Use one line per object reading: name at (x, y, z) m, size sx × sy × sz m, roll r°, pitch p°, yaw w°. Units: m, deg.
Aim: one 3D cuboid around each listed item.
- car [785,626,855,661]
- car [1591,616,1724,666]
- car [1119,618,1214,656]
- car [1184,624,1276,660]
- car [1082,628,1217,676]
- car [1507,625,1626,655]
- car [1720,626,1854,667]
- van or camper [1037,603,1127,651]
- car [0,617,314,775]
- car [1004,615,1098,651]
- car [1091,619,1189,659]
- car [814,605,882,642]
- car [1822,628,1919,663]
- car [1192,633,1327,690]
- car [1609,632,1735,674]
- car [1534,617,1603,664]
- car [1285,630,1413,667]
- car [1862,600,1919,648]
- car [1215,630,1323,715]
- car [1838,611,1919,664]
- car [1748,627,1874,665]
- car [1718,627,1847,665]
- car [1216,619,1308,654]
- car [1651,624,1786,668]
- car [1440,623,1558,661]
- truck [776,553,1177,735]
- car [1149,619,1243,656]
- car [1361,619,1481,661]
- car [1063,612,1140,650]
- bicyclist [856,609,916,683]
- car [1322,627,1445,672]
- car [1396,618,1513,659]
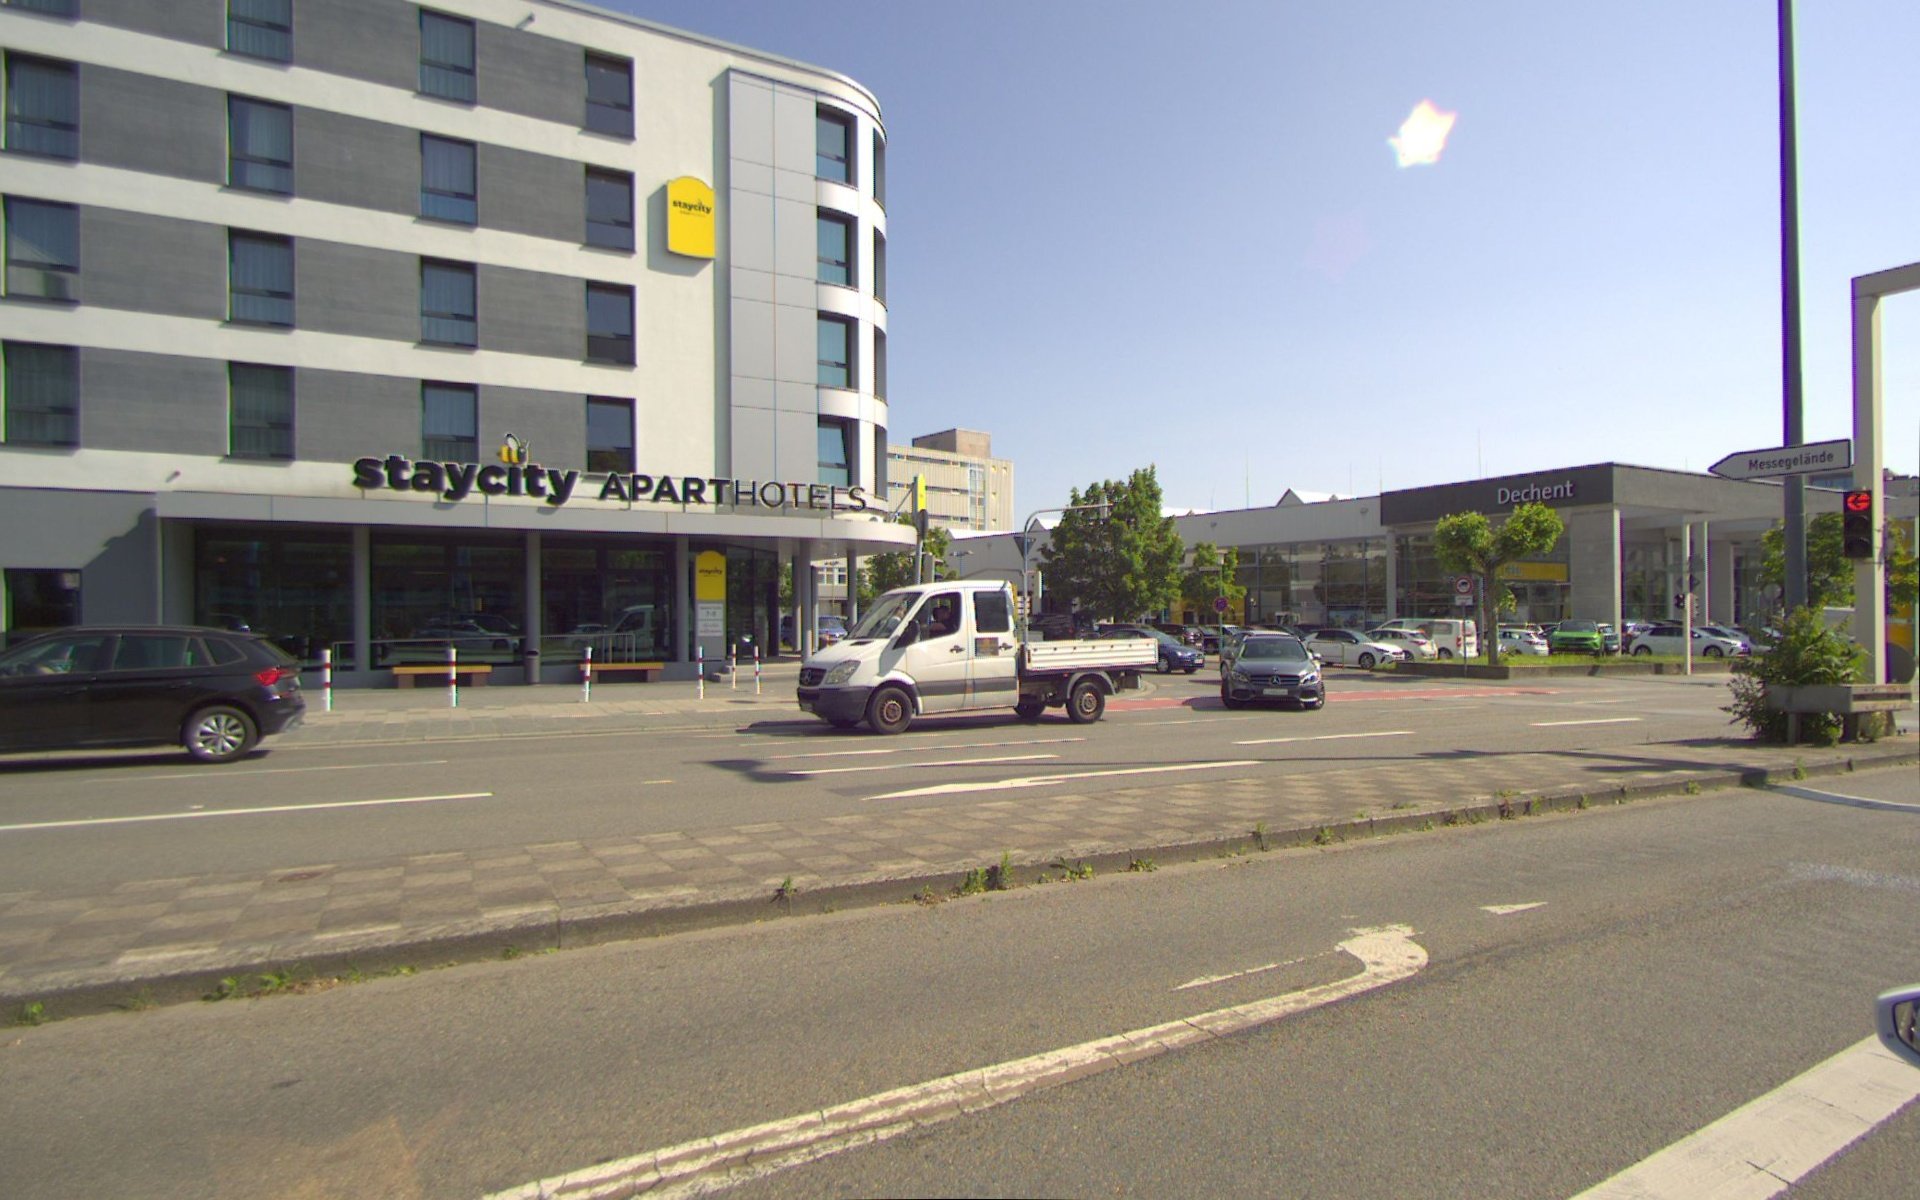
car at (-7.401, 2.256, 52.720) m, size 1.981 × 1.611 × 3.958 m, roll 2°, pitch 0°, yaw -37°
car at (27.349, 1.576, 39.489) m, size 1.978 × 1.862 × 3.849 m, roll 1°, pitch -2°, yaw -32°
car at (9.892, 1.735, 48.299) m, size 1.980 × 1.719 × 4.328 m, roll 1°, pitch -2°, yaw -35°
car at (13.768, 2.122, 51.472) m, size 1.980 × 1.719 × 4.328 m, roll 1°, pitch -2°, yaw -35°
car at (6.633, 1.798, 35.438) m, size 1.987 × 1.466 × 4.312 m, roll 2°, pitch -1°, yaw -45°
car at (27.864, 1.838, 46.262) m, size 1.982 × 1.284 × 4.325 m, roll 4°, pitch -4°, yaw -37°
car at (37.436, 2.079, 45.589) m, size 1.978 × 1.719 × 4.333 m, roll 2°, pitch -1°, yaw -32°
van or camper at (6.402, 1.420, 52.995) m, size 1.983 × 2.432 × 4.678 m, roll 1°, pitch -2°, yaw -38°
car at (-9.884, 1.003, 11.202) m, size 4.360 × 1.598 × 1.984 m, roll 1°, pitch -2°, yaw -30°
car at (4.535, 1.627, 50.264) m, size 4.304 × 1.719 × 1.991 m, roll -1°, pitch -2°, yaw 39°
car at (8.231, 1.757, 46.177) m, size 1.980 × 1.719 × 4.328 m, roll 1°, pitch -2°, yaw -35°
car at (-7.125, 1.479, 63.824) m, size 1.985 × 2.158 × 4.565 m, roll 2°, pitch 0°, yaw -42°
car at (47.015, 2.292, 51.121) m, size 1.973 × 1.719 × 4.345 m, roll 1°, pitch -1°, yaw -24°
car at (8.483, 1.709, 28.777) m, size 1.751 × 1.457 × 3.897 m, roll 1°, pitch -1°, yaw -20°
car at (30.164, 2.214, 42.644) m, size 1.981 × 1.620 × 3.959 m, roll 1°, pitch -2°, yaw -36°
car at (23.991, 1.610, 39.713) m, size 1.870 × 1.756 × 3.293 m, roll 0°, pitch -3°, yaw 23°
car at (15.075, 1.844, 39.117) m, size 1.980 × 1.317 × 4.328 m, roll 1°, pitch -2°, yaw -35°
car at (53.235, 1.353, 55.749) m, size 1.973 × 2.635 × 4.345 m, roll 1°, pitch -1°, yaw -24°
car at (6.636, 1.428, 21.239) m, size 1.923 × 1.446 × 4.585 m, roll 1°, pitch 0°, yaw 20°
car at (49.085, 1.937, 52.387) m, size 2.096 × 2.720 × 4.490 m, roll 1°, pitch -1°, yaw -21°
car at (41.575, 2.209, 49.175) m, size 1.978 × 1.719 × 4.333 m, roll 1°, pitch -2°, yaw -32°
car at (38.870, 2.132, 47.554) m, size 1.978 × 1.719 × 4.333 m, roll 1°, pitch -2°, yaw -32°
car at (15.810, 1.884, 52.689) m, size 1.982 × 1.719 × 4.324 m, roll 1°, pitch -2°, yaw -37°
car at (32.775, 1.959, 43.521) m, size 1.978 × 1.789 × 4.274 m, roll 1°, pitch -2°, yaw -32°
car at (24.549, 1.873, 45.875) m, size 1.982 × 1.612 × 4.325 m, roll 1°, pitch -2°, yaw -37°
truck at (0.350, 0.767, 16.761) m, size 6.355 × 2.578 × 2.349 m, roll 1°, pitch -5°, yaw -28°
car at (11.634, 1.816, 49.709) m, size 1.980 × 1.719 × 4.328 m, roll 1°, pitch -2°, yaw -35°
car at (19.823, 1.704, 43.339) m, size 1.982 × 1.719 × 4.323 m, roll 1°, pitch -2°, yaw -38°
car at (7.754, 1.697, 55.300) m, size 1.983 × 2.040 × 3.956 m, roll 1°, pitch -2°, yaw -38°
bicyclist at (-1.534, 0.944, 20.817) m, size 1.012 × 1.479 × 0.766 m, roll -1°, pitch -2°, yaw 43°
car at (17.382, 1.990, 41.430) m, size 1.980 × 1.719 × 4.328 m, roll 1°, pitch -2°, yaw -35°
car at (22.086, 1.699, 45.008) m, size 1.982 × 1.719 × 4.323 m, roll 1°, pitch -2°, yaw -38°
